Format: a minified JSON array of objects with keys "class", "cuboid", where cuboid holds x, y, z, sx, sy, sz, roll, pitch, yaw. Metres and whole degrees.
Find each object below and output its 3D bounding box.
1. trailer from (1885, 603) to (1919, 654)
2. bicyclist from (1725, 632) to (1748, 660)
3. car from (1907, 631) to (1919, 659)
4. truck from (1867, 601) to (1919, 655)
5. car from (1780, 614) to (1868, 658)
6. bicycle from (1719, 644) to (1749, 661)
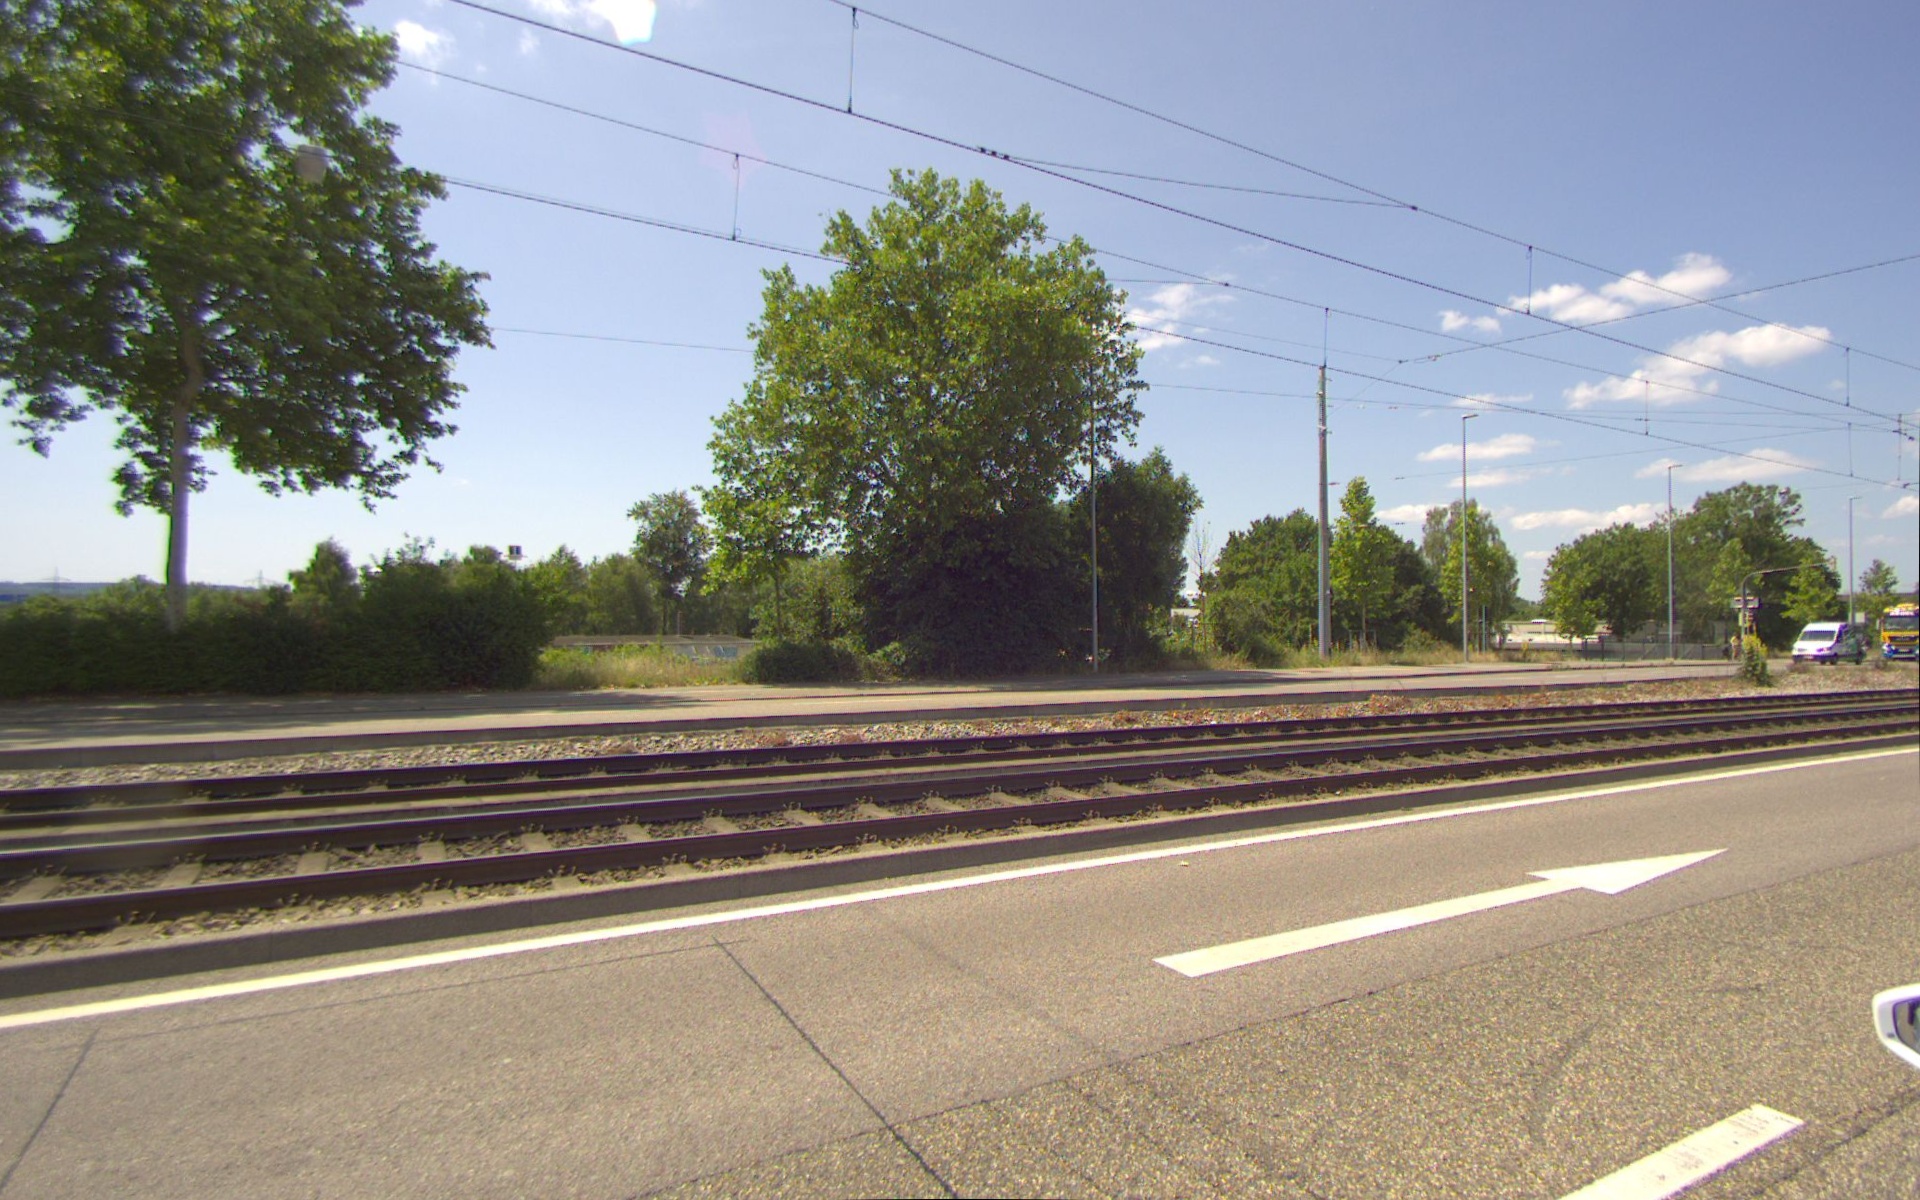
[{"class":"trailer","cuboid":[73.015,2.161,74.016,15.693,3.565,2.753,2,0,-31]},{"class":"bicyclist","cuboid":[50.782,3.023,65.667,0.337,1.798,1.112,1,0,-34]},{"class":"car","cuboid":[60.986,2.798,62.515,4.408,1.692,1.813,1,0,-30]},{"class":"truck","cuboid":[66.262,1.959,70.008,6.365,3.616,2.754,1,0,-30]},{"class":"car","cuboid":[53.694,2.210,62.387,6.163,2.622,2.232,1,-3,-31]},{"class":"bicycle","cuboid":[50.715,3.426,65.823,0.481,1.000,1.482,1,0,-33]}]
